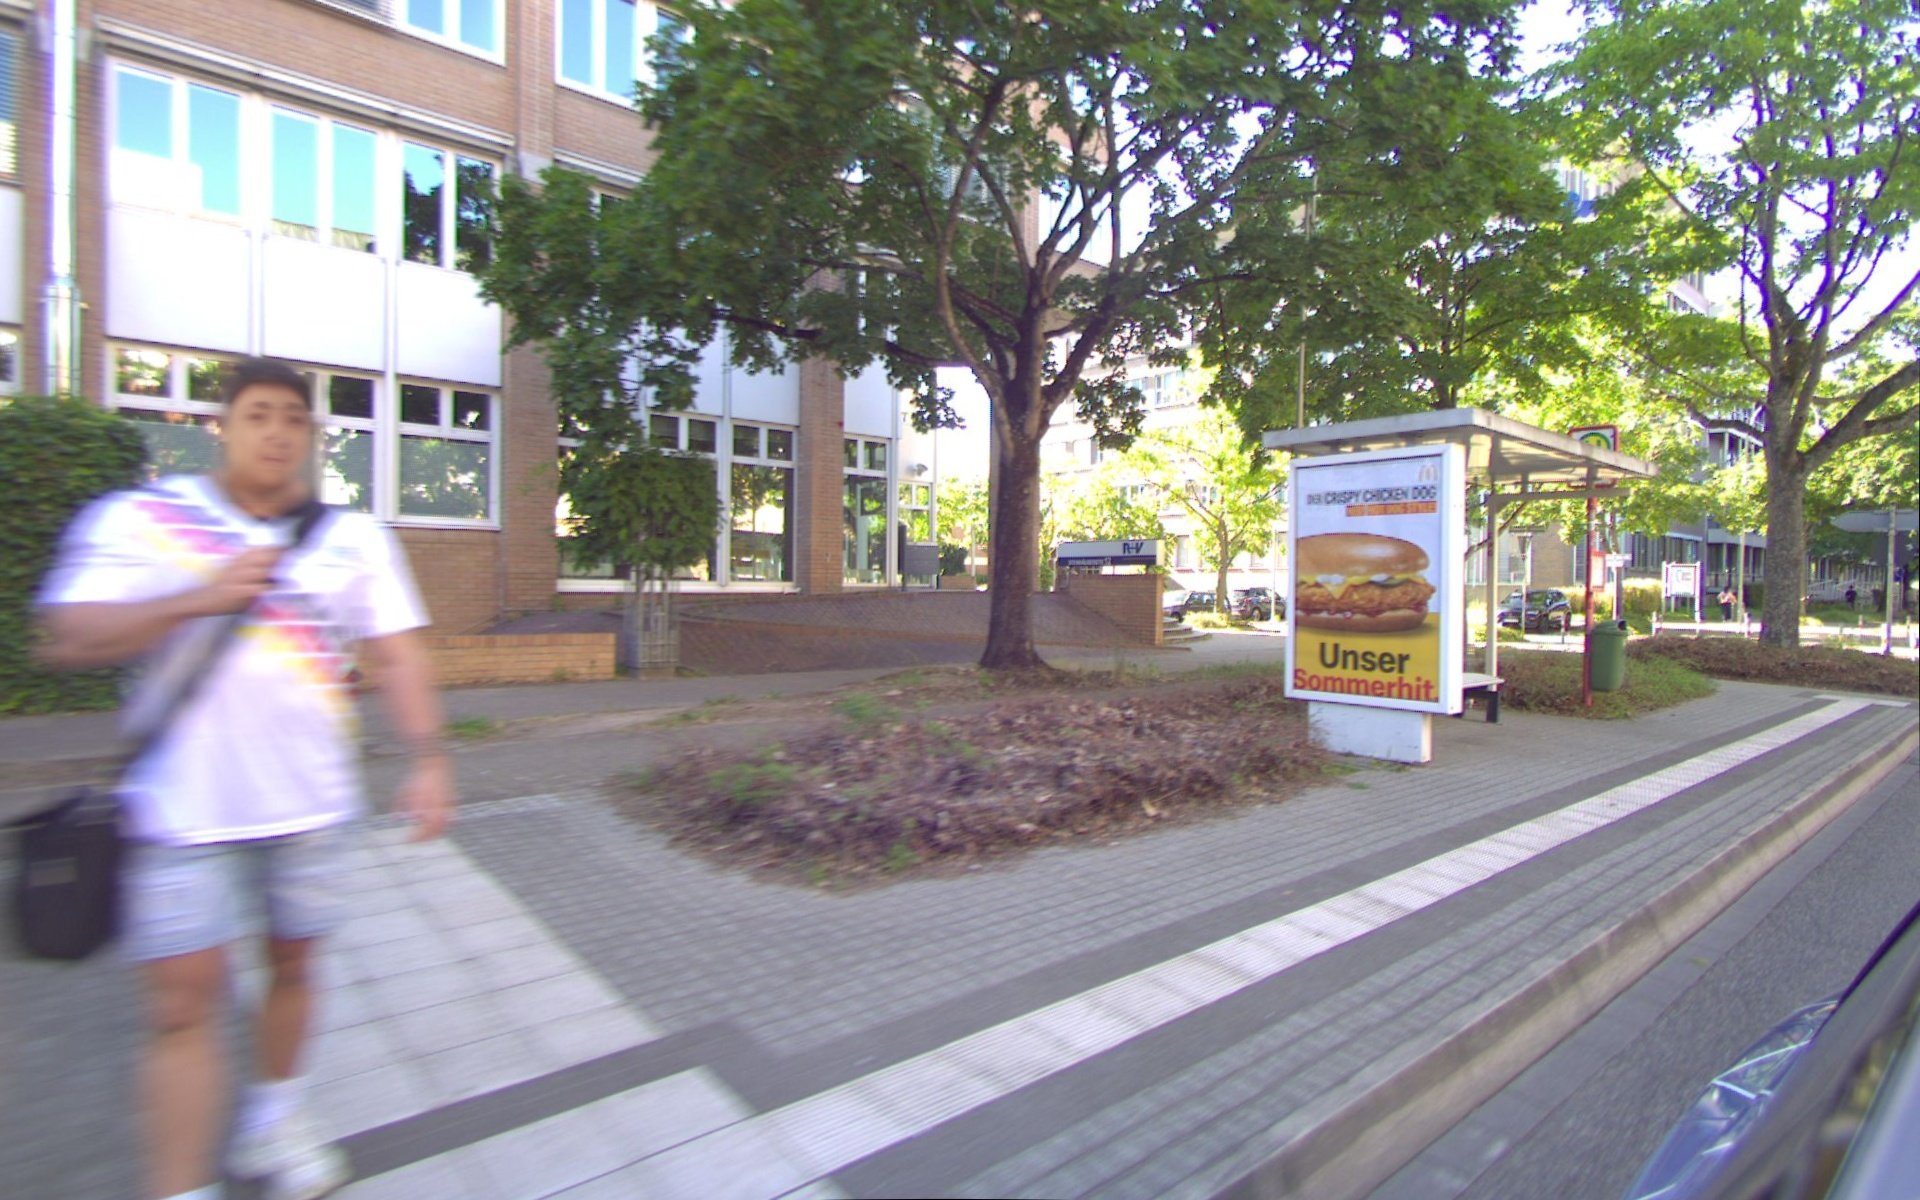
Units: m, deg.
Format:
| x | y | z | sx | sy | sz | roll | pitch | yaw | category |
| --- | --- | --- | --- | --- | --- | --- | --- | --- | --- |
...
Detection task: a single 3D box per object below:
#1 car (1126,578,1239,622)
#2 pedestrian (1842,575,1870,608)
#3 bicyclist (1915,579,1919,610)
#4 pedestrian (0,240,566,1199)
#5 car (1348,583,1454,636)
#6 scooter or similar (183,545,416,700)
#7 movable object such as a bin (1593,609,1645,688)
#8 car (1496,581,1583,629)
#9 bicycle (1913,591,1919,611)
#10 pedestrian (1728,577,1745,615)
| x | y | z | sx | sy | sz | roll | pitch | yaw | category |
| --- | --- | --- | --- | --- | --- | --- | --- | --- | --- |
| 8.081 | -0.012 | 36.575 | 4.194 | 1.479 | 1.693 | 0 | 1 | -38 | car |
| 49.787 | -0.491 | 56.263 | 1.001 | 1.821 | 1.036 | 0 | -1 | -42 | pedestrian |
| 51.699 | -0.281 | 54.312 | 0.808 | 1.657 | 0.538 | 0 | 1 | -40 | bicyclist |
| -1.373 | 0.330 | 1.978 | 0.916 | 1.731 | 0.689 | 5 | 3 | 36 | pedestrian |
| 13.253 | 0.266 | 30.316 | 1.653 | 1.481 | 3.854 | 1 | 1 | 45 | car |
| -6.220 | 0.188 | 9.608 | 0.549 | 1.342 | 1.777 | -1 | 0 | 44 | scooter or similar |
| 6.736 | 0.481 | 10.342 | 0.459 | 0.763 | 0.299 | 0 | 3 | -41 | movable object such as a bin |
| 22.206 | 0.149 | 38.713 | 4.295 | 1.585 | 1.739 | -3 | 2 | -44 | car |
| 51.598 | 0.061 | 54.232 | 1.885 | 1.092 | 0.535 | 0 | 1 | -40 | bicycle |
| 33.623 | -0.181 | 43.805 | 0.537 | 1.602 | 0.639 | 1 | 0 | 40 | pedestrian |
